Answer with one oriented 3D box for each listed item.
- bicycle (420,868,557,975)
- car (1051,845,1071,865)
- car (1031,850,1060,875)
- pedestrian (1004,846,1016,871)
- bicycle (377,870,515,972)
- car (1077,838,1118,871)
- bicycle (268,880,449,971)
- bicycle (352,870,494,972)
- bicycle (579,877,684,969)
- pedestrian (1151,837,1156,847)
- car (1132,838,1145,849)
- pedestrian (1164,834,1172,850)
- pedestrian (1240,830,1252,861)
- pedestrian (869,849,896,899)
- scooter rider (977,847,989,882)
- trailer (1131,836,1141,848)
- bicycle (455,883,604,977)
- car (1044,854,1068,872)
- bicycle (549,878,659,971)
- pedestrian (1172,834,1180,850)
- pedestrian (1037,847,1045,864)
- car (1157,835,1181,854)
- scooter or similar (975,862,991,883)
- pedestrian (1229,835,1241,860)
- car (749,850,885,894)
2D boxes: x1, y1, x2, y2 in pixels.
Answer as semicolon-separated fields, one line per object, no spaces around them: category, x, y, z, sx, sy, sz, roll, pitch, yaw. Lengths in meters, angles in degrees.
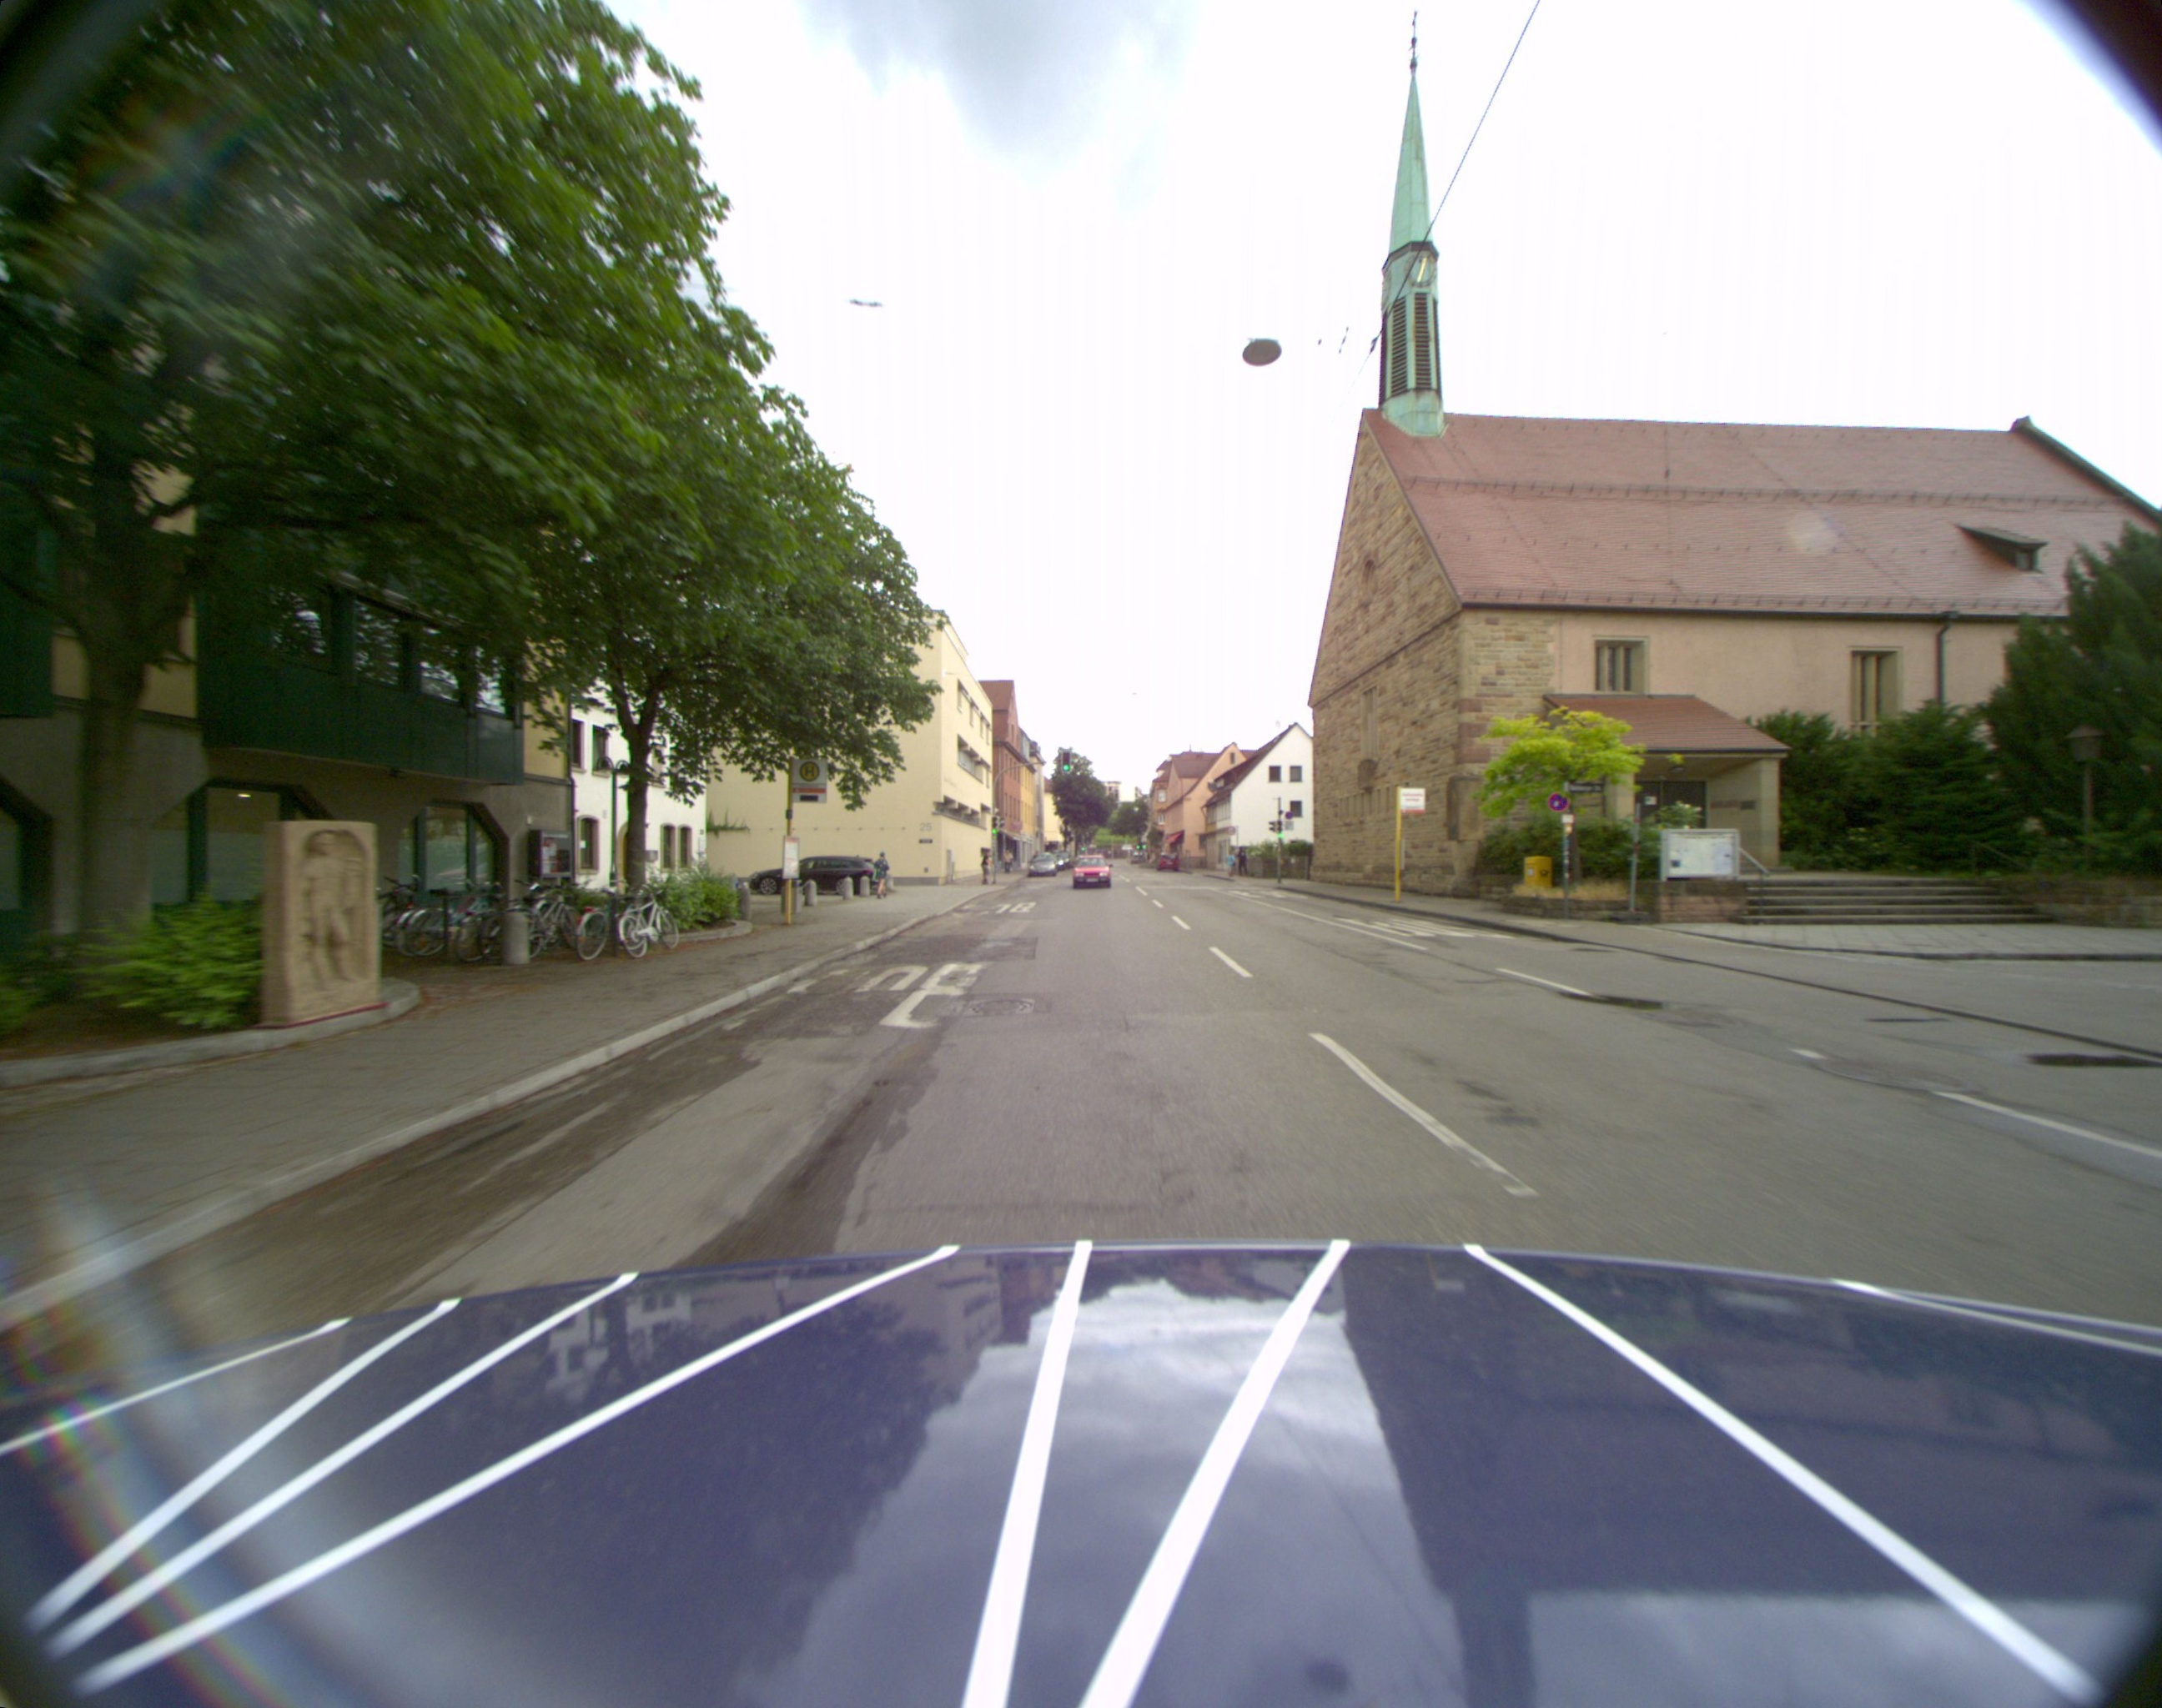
bicycle;-8.249;0.880;10.688;0.333;1.293;1.958;-1;2;0
car;-1.878;0.103;72.113;1.824;1.771;4.402;0;1;0
car;-2.380;0.525;51.629;1.716;1.551;3.784;0;1;1
pedestrian;-4.913;0.298;52.312;0.702;1.640;0.888;1;1;1
bicycle;-9.254;0.921;11.187;0.333;1.293;1.958;-1;2;0
car;0.788;-0.017;34.194;1.626;1.387;4.001;0;1;5
bicycle;-10.380;0.972;11.066;0.546;1.063;2.290;1;1;-3
bicycle;-9.613;0.926;11.202;0.333;1.293;1.958;-1;2;0
bicycle;-6.548;0.954;11.184;0.333;1.134;1.958;-1;2;0
pedestrian;12.598;-2.115;131.799;0.740;1.708;1.156;0;1;0
car;9.236;-1.659;122.043;1.895;1.702;4.741;2;1;3
pedestrian;9.662;-1.327;84.529;0.740;1.744;0.983;0;1;2
pedestrian;10.072;-0.521;46.390;0.572;1.838;0.697;-3;1;2
pedestrian;-6.874;0.684;26.347;0.603;1.706;0.860;0;2;8
scooter rider;-4.663;0.516;36.101;0.454;1.623;0.504;2;3;-13
trailer;13.635;-2.909;188.899;2.450;2.788;6.304;1;1;5
bicycle;-7.692;1.009;10.753;0.546;1.063;2.290;1;1;-3
car;-2.168;0.795;67.378;1.755;1.398;4.511;1;1;2
bicycle;-6.888;0.967;11.083;0.333;1.135;1.958;-1;2;0
pedestrian;10.275;-1.284;81.950;0.732;1.620;0.758;-2;3;-2
pedestrian;-3.828;0.155;72.864;0.616;1.643;0.982;3;1;1
car;7.843;-0.846;68.064;1.707;1.565;4.449;2;2;1
scooter or similar;-4.676;0.878;36.161;0.663;0.940;0.818;2;3;-10
pedestrian;9.562;-0.397;47.153;0.572;1.545;0.697;-1;1;2
car;-9.945;0.661;28.908;4.522;1.565;1.852;1;2;-1
